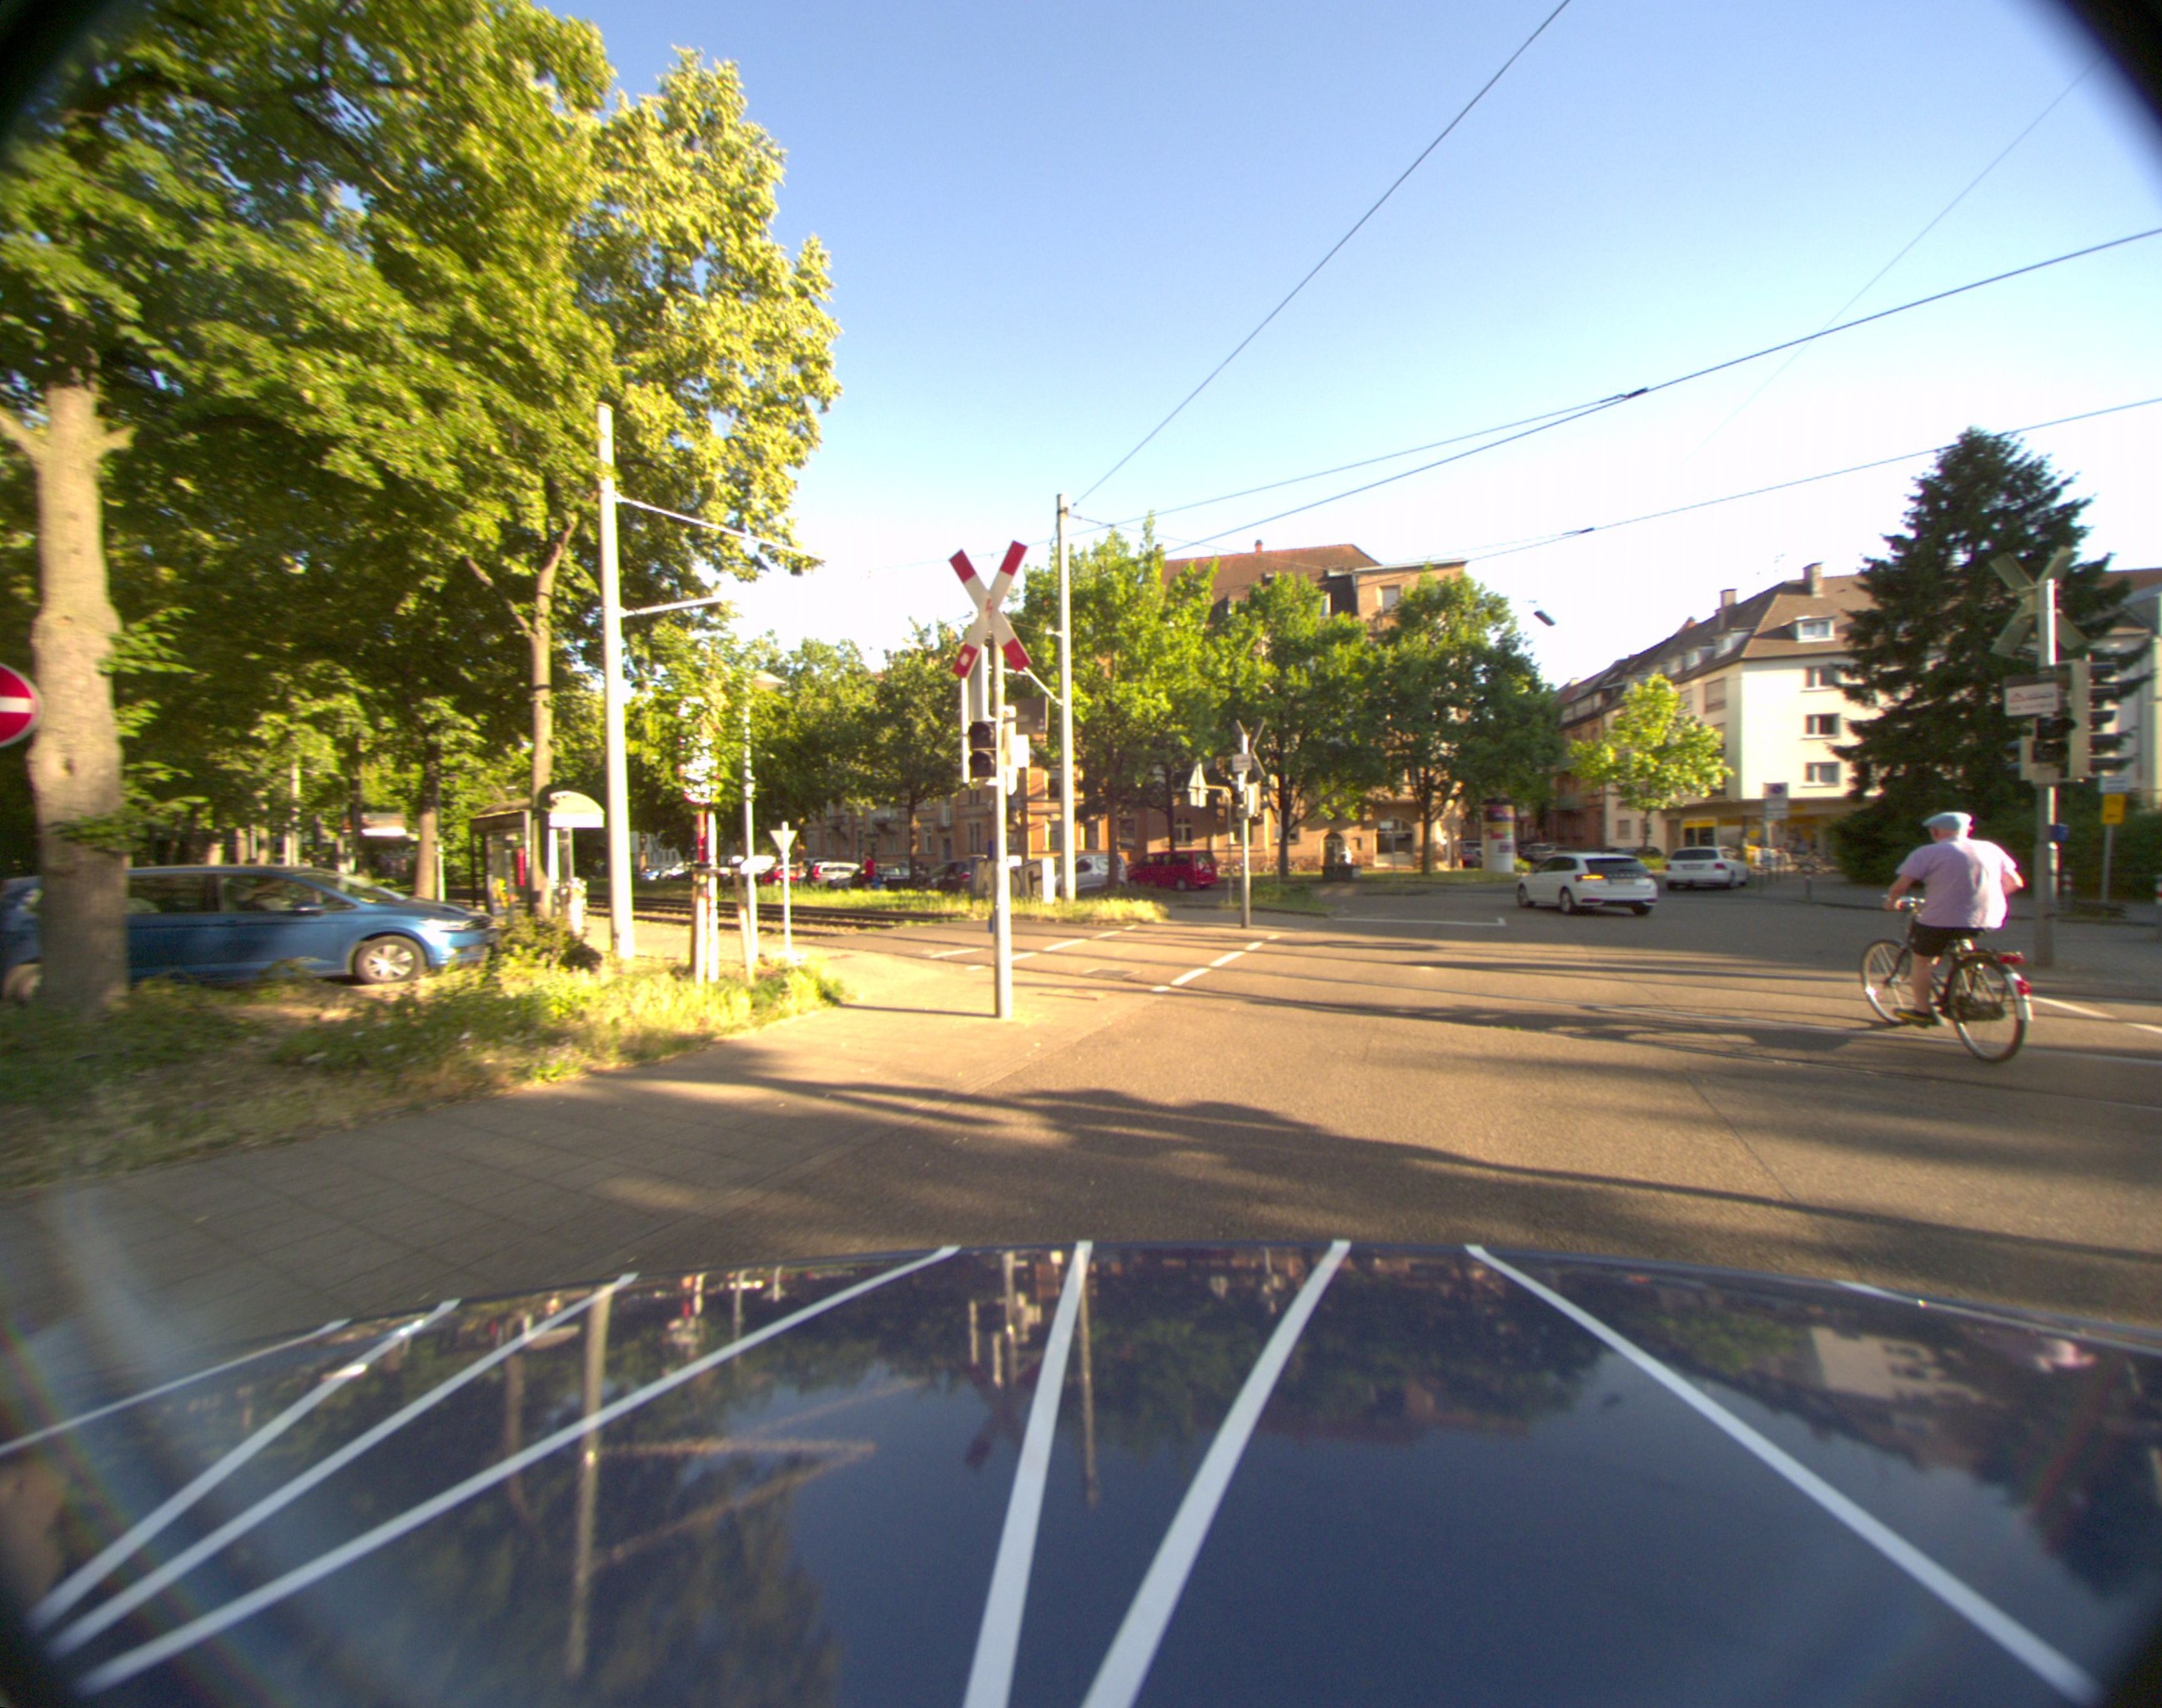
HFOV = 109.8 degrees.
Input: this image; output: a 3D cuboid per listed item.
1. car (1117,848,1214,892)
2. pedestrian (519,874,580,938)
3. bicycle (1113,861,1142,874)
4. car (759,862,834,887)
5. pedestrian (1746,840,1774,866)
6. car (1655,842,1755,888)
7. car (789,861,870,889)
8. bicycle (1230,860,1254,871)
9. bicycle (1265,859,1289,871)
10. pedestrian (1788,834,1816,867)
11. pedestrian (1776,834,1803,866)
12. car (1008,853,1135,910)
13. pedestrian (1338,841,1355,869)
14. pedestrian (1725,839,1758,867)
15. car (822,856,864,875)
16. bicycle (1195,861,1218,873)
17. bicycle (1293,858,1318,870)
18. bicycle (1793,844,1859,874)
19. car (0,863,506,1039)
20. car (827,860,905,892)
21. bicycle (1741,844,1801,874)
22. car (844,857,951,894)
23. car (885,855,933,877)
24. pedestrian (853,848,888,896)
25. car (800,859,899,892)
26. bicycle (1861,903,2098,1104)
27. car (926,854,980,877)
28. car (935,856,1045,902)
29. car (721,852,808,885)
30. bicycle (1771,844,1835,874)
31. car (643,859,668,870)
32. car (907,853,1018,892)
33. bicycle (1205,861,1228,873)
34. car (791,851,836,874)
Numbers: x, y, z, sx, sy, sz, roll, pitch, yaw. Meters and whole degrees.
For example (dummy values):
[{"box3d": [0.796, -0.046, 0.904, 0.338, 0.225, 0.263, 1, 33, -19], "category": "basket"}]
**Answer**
[{"box3d": [4.083, 0.758, 37.585, 1.785, 1.923, 4.759, -4, 2, -41], "category": "car"}, {"box3d": [-11.209, 1.072, 16.022, 0.874, 1.265, 0.826, 0, 1, 39], "category": "pedestrian"}, {"box3d": [3.213, 0.896, 52.060, 1.896, 0.843, 0.526, -2, 0, 12], "category": "bicycle"}, {"box3d": [-17.535, 1.214, 46.882, 4.008, 1.415, 1.679, 0, 0, -43], "category": "car"}, {"box3d": [41.324, -0.058, 46.234, 0.962, 1.560, 0.892, -1, 1, 14], "category": "pedestrian"}, {"box3d": [21.648, 0.344, 26.304, 4.304, 1.442, 1.918, -1, 0, -40], "category": "car"}, {"box3d": [-14.226, 1.167, 43.081, 4.008, 1.452, 1.679, 0, 0, -43], "category": "car"}, {"box3d": [10.635, 0.754, 50.282, 1.508, 0.728, 0.369, -1, 1, 11], "category": "bicycle"}, {"box3d": [12.909, 0.721, 50.040, 1.508, 0.728, 0.369, -1, 1, 11], "category": "bicycle"}, {"box3d": [42.280, -0.212, 44.546, 0.889, 1.864, 0.853, -1, 1, 13], "category": "pedestrian"}, {"box3d": [42.364, -0.247, 45.421, 0.889, 1.864, 0.853, -1, 1, 13], "category": "pedestrian"}, {"box3d": [-0.292, 0.942, 28.415, 4.562, 1.903, 1.944, -1, 2, -41], "category": "car"}, {"box3d": [16.116, 0.071, 46.118, 0.910, 1.708, 0.676, -1, 0, 15], "category": "pedestrian"}, {"box3d": [40.009, -0.048, 46.018, 1.213, 1.657, 0.965, -1, 1, 14], "category": "pedestrian"}, {"box3d": [-19.842, 0.923, 63.317, 1.772, 1.430, 3.877, -4, 3, -43], "category": "car"}, {"box3d": [8.388, 0.864, 50.742, 1.508, 0.728, 0.369, -1, 1, 11], "category": "bicycle"}, {"box3d": [14.614, 0.648, 49.573, 1.508, 0.728, 0.369, -3, 1, 11], "category": "bicycle"}, {"box3d": [37.977, 0.226, 38.813, 0.879, 1.437, 3.383, -1, 1, 16], "category": "bicycle"}, {"box3d": [-10.231, 1.052, 9.554, 4.424, 1.678, 1.738, -2, 1, -24], "category": "car"}, {"box3d": [-10.992, 1.080, 38.905, 3.416, 1.505, 1.714, -1, 0, -41], "category": "car"}, {"box3d": [35.588, 0.224, 39.269, 0.879, 1.437, 3.383, -1, 1, 16], "category": "bicycle"}, {"box3d": [-8.955, 1.002, 37.305, 4.725, 1.563, 1.994, -1, 2, -41], "category": "car"}, {"box3d": [-12.664, 0.837, 55.828, 1.692, 1.467, 3.698, -4, 2, -42], "category": "car"}, {"box3d": [-8.623, 0.718, 31.083, 0.907, 1.907, 1.146, -2, 1, -43], "category": "pedestrian"}, {"box3d": [-12.492, 1.128, 41.225, 4.725, 1.563, 1.994, -1, 2, -41], "category": "car"}, {"box3d": [6.528, 0.976, 5.660, 0.699, 1.048, 2.128, 0, 1, 37], "category": "bicycle"}, {"box3d": [-8.740, 0.769, 51.735, 1.692, 1.467, 3.871, -4, 3, -45], "category": "car"}, {"box3d": [-3.777, 0.996, 32.131, 1.944, 1.681, 4.459, 1, 2, 42], "category": "car"}, {"box3d": [-20.984, 0.913, 50.439, 4.870, 2.026, 2.149, 0, 0, -43], "category": "car"}, {"box3d": [36.869, 0.237, 38.867, 0.879, 1.437, 3.383, -1, 1, 16], "category": "bicycle"}, {"box3d": [-58.325, 1.455, 104.035, 1.885, 1.433, 4.380, -4, 2, -43], "category": "car"}, {"box3d": [-5.264, 0.777, 34.145, 4.562, 1.563, 1.944, -1, 2, -41], "category": "car"}, {"box3d": [8.973, 0.858, 50.228, 1.508, 0.728, 0.369, -1, 1, 11], "category": "bicycle"}, {"box3d": [-23.769, 0.761, 67.336, 1.916, 1.872, 4.712, -4, 3, -43], "category": "car"}]
